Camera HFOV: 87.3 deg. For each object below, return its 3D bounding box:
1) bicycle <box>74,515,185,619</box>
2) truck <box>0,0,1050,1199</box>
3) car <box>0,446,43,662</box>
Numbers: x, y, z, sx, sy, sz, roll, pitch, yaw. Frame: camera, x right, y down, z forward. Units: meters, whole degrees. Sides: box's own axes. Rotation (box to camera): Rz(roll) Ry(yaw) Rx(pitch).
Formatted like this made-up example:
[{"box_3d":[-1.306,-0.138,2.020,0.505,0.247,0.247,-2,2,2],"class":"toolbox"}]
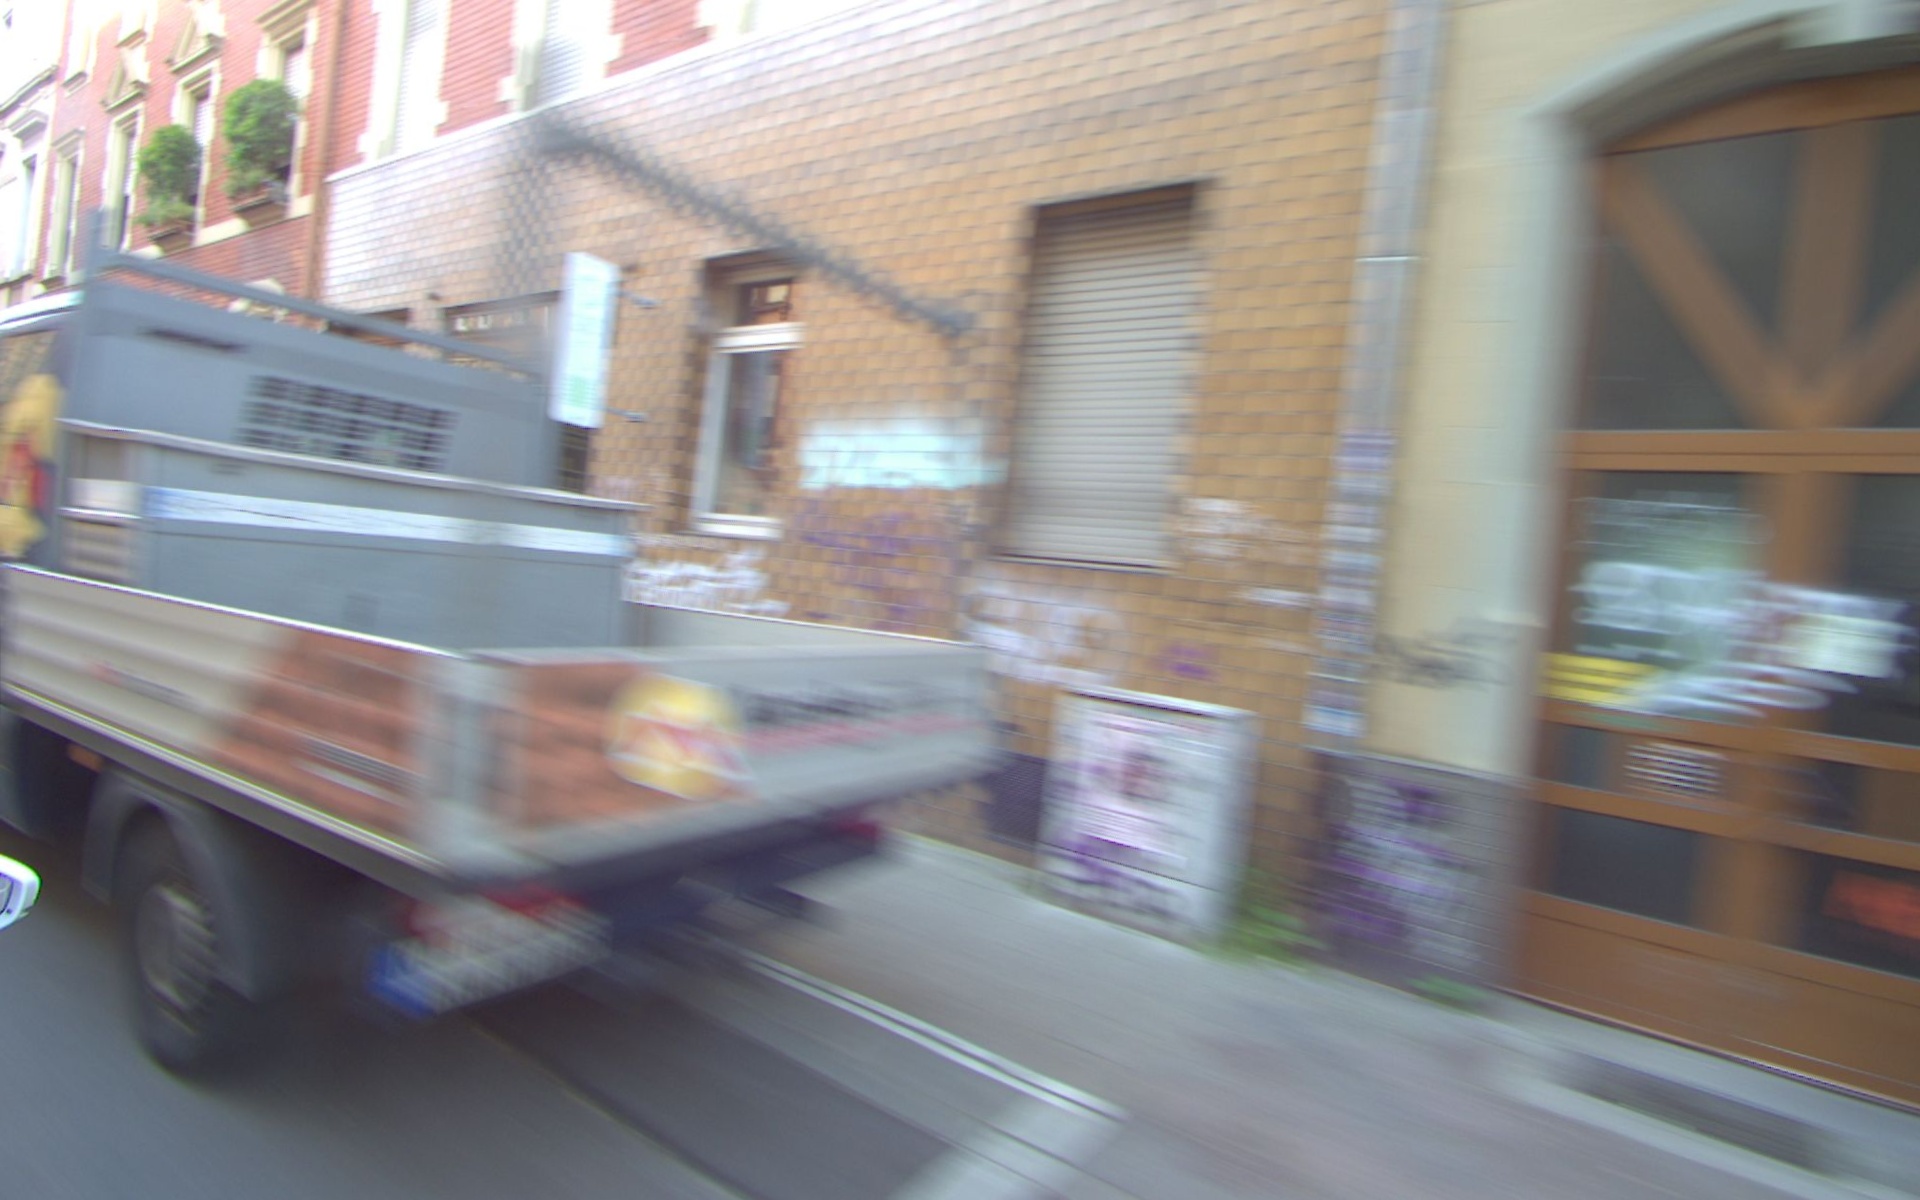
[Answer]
[{"box_3d":[-11.054,-0.455,13.361,1.961,1.239,0.667,6,3,36],"class":"bicycle"},{"box_3d":[-2.916,-0.137,4.387,6.152,2.695,2.145,7,5,33],"class":"truck"},{"box_3d":[-11.190,-0.714,10.114,4.504,2.007,1.847,7,-2,35],"class":"car"}]
